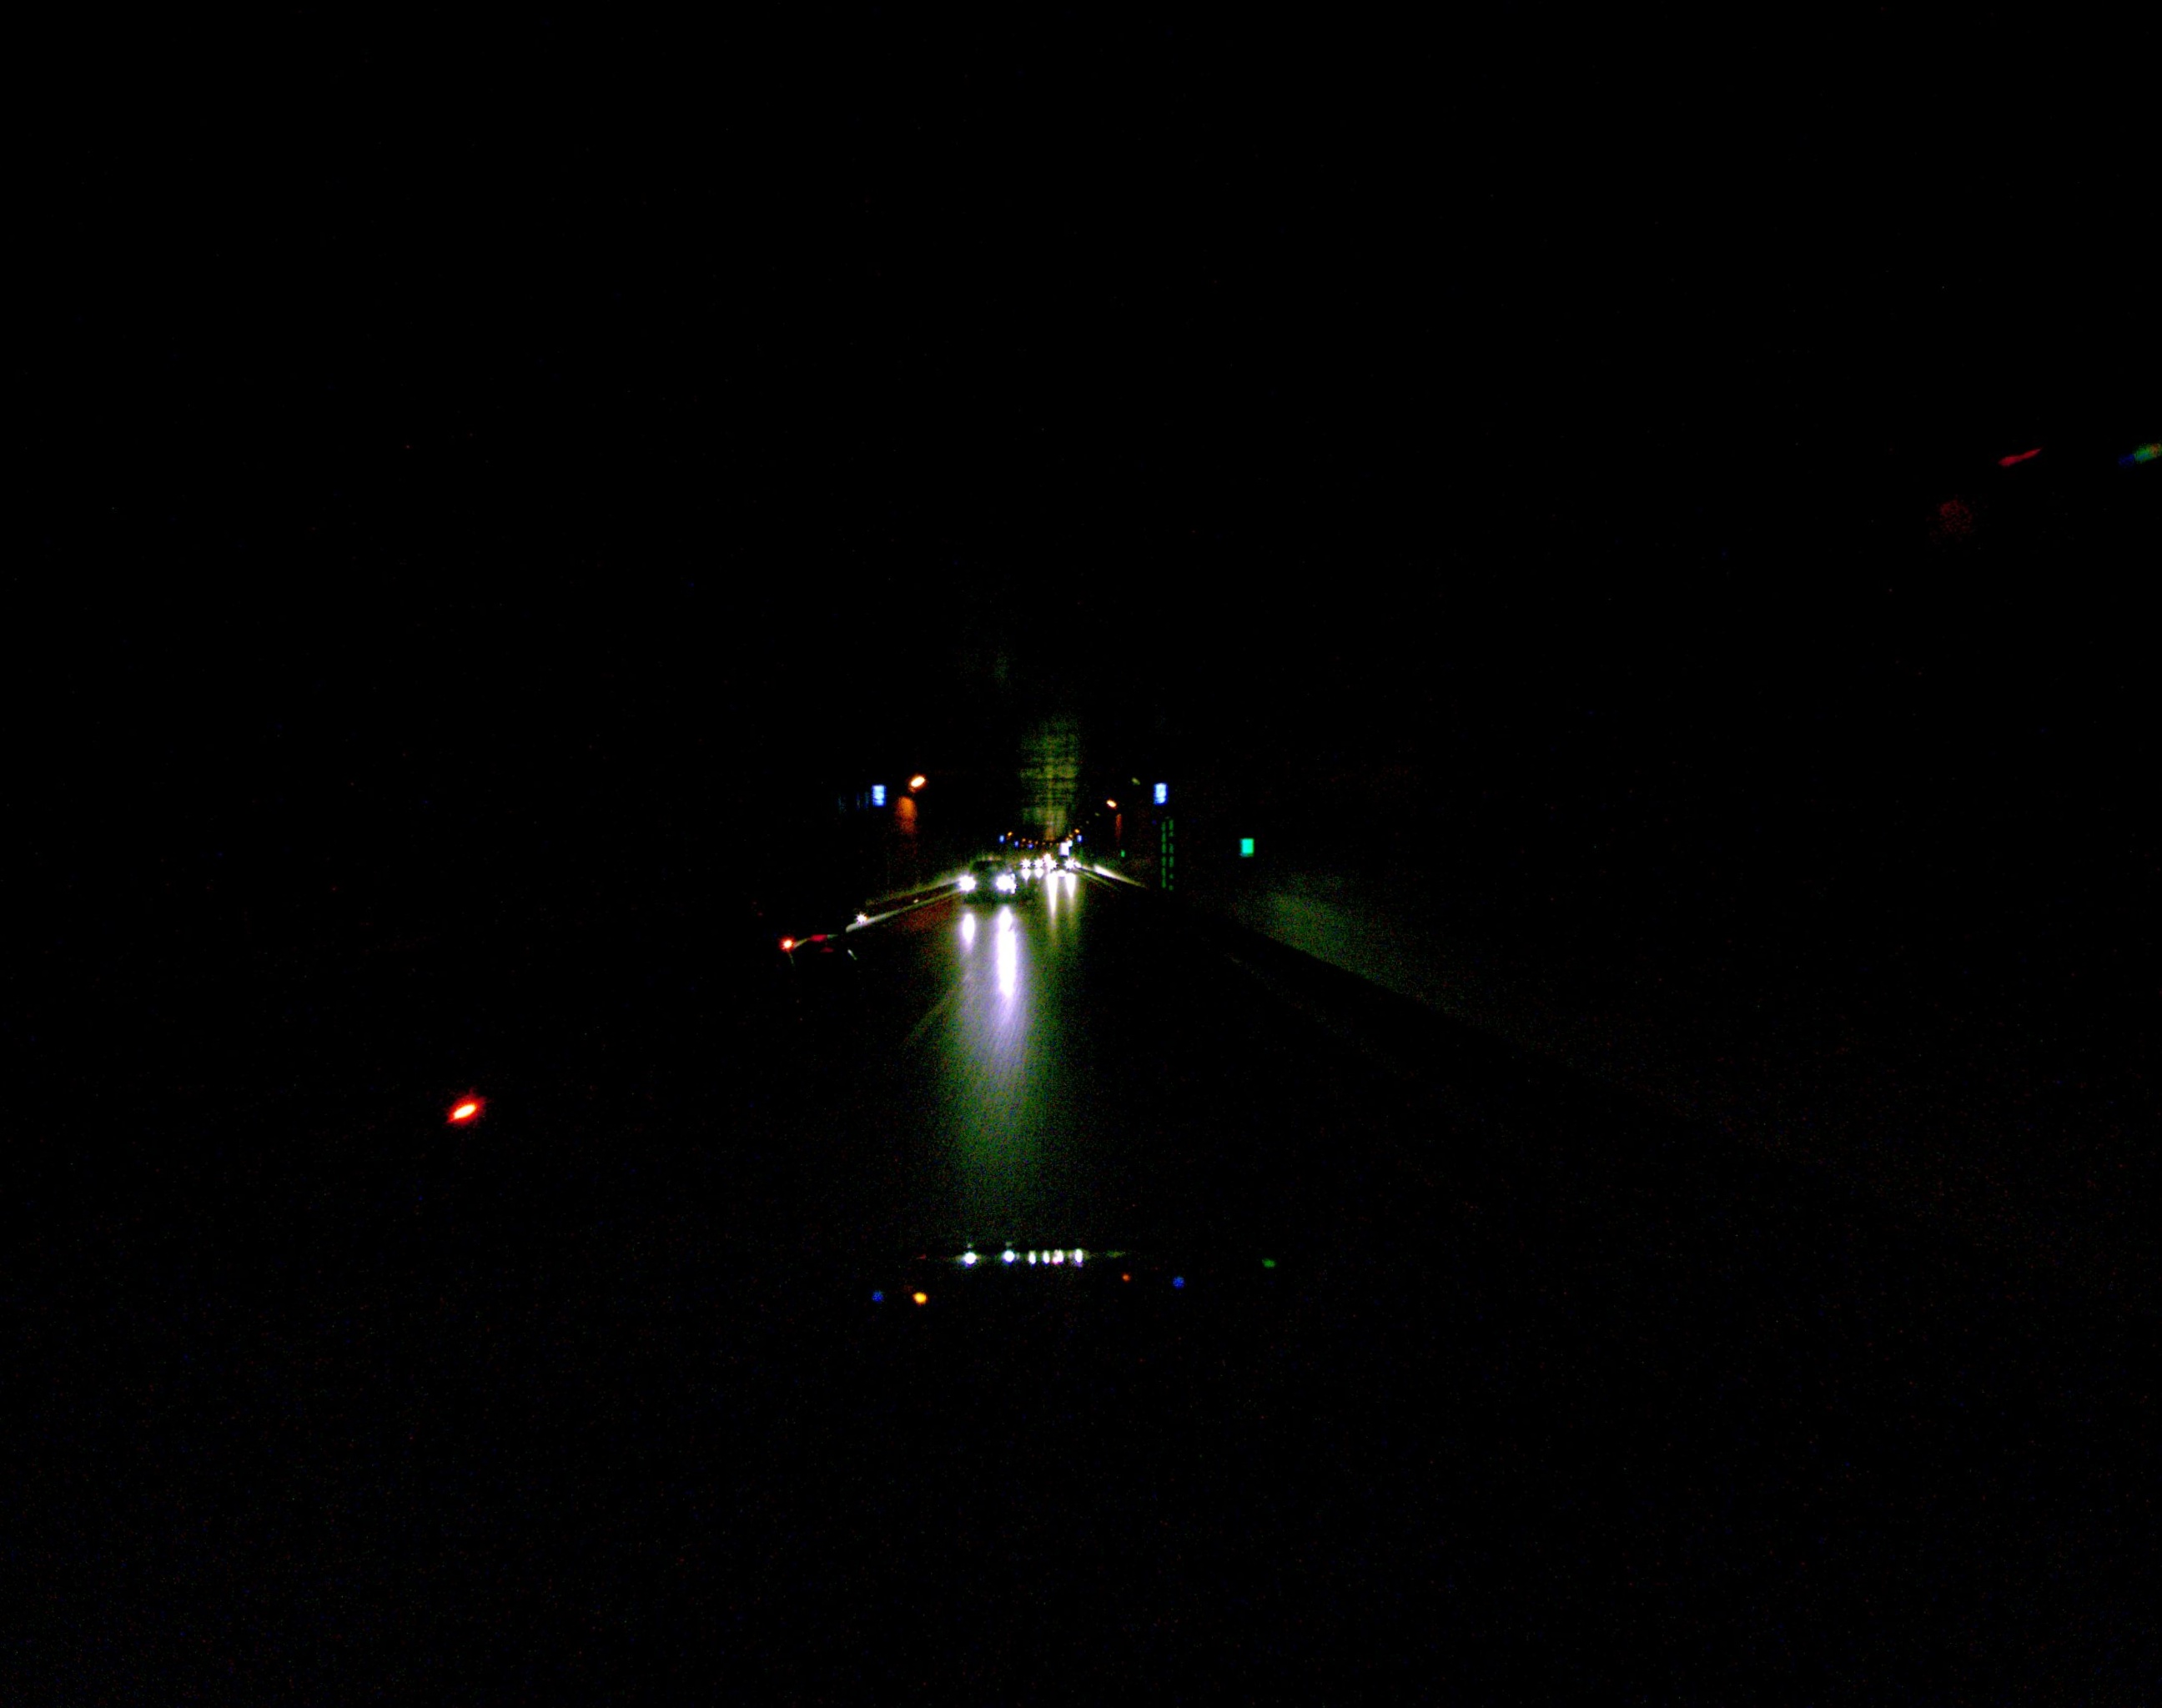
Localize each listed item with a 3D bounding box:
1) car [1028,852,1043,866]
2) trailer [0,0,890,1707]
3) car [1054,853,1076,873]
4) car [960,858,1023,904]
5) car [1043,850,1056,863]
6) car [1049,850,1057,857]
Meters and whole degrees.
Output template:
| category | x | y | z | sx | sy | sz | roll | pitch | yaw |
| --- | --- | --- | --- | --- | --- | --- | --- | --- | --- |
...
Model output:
| category | x | y | z | sx | sy | sz | roll | pitch | yaw |
| --- | --- | --- | --- | --- | --- | --- | --- | --- | --- |
| car | -5.472 | 0.596 | 92.199 | 1.736 | 1.565 | 3.999 | -1 | 0 | -3 |
| trailer | -3.441 | -0.262 | 3.153 | 2.882 | 3.836 | 8.947 | 0 | 0 | 1 |
| car | -1.392 | 0.756 | 66.257 | 1.820 | 1.589 | 3.999 | 1 | 0 | 0 |
| car | -3.157 | 0.922 | 27.460 | 1.735 | 1.395 | 3.798 | -2 | 1 | 0 |
| car | -4.469 | 0.300 | 107.016 | 1.715 | 1.729 | 3.997 | -1 | 2 | -3 |
| car | -6.999 | -0.027 | 190.316 | 1.999 | 1.674 | 3.999 | 0 | 1 | -1 |
